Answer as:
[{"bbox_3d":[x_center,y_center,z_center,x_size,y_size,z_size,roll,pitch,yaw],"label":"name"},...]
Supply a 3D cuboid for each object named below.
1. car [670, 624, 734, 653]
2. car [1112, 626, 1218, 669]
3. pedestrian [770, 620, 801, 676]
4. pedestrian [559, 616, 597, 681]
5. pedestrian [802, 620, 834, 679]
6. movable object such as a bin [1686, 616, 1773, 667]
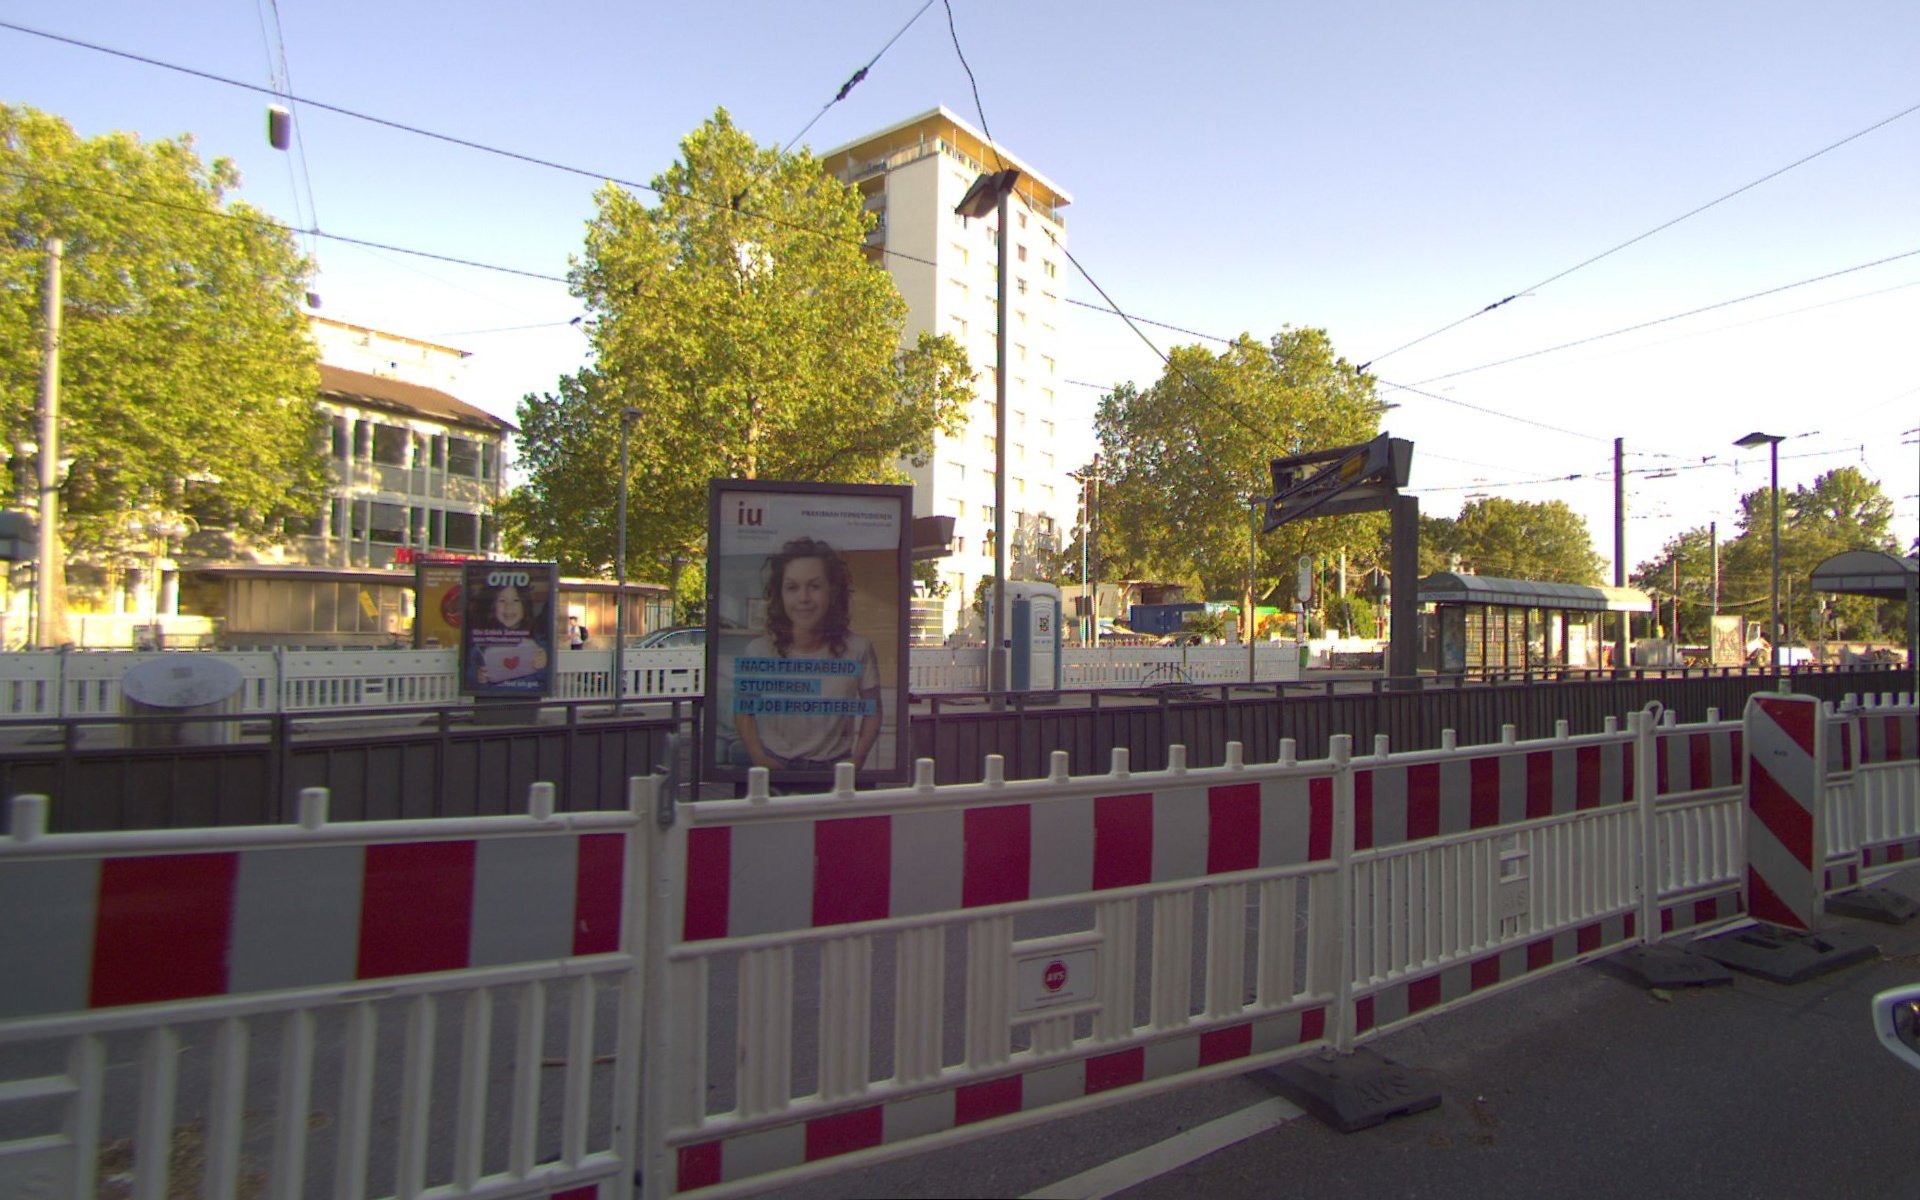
[{"bbox_3d":[-18.654,2.772,72.912,1.964,2.040,4.436,-1,-2,30],"label":"car"},{"bbox_3d":[7.933,1.816,38.828,3.928,1.586,1.795,1,-2,-33],"label":"car"},{"bbox_3d":[-6.405,1.745,36.810,0.873,2.040,0.881,1,-2,-28],"label":"pedestrian"},{"bbox_3d":[-12.093,1.524,31.821,0.880,2.040,0.874,2,-2,-39],"label":"pedestrian"},{"bbox_3d":[-5.029,1.741,35.615,0.873,2.040,0.881,1,-2,-28],"label":"pedestrian"},{"bbox_3d":[41.900,2.260,54.703,4.543,2.673,2.142,1,-2,-29],"label":"movable object such as a bin"}]
